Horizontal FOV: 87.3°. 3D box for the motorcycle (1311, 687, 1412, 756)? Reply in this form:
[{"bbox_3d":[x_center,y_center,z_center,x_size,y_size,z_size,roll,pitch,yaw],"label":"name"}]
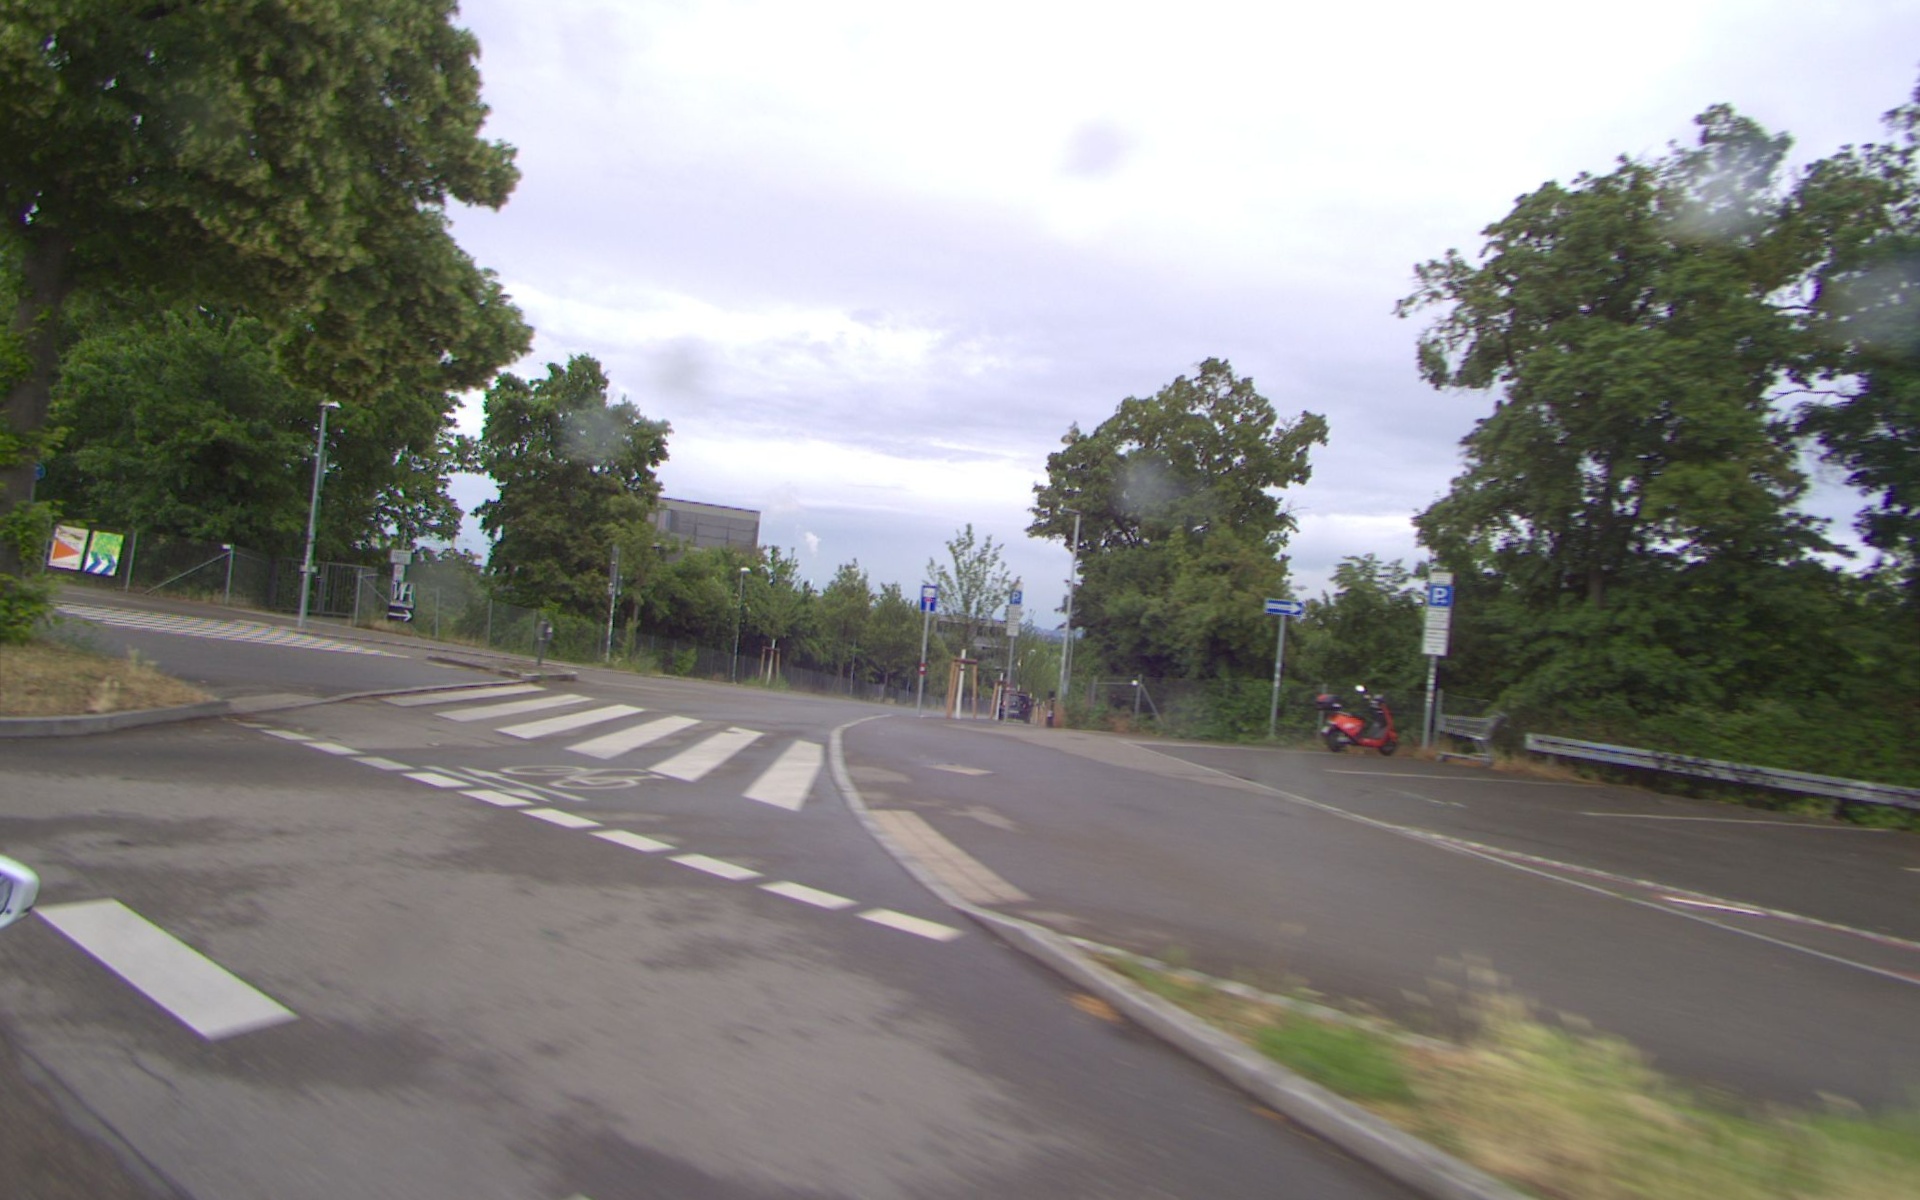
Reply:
[{"bbox_3d":[7.713,2.335,19.315,1.995,1.227,0.472,5,-4,-21],"label":"motorcycle"}]

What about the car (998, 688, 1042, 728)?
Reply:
[{"bbox_3d":[3.259,5.719,53.546,1.962,1.801,4.095,7,-5,7],"label":"car"}]
